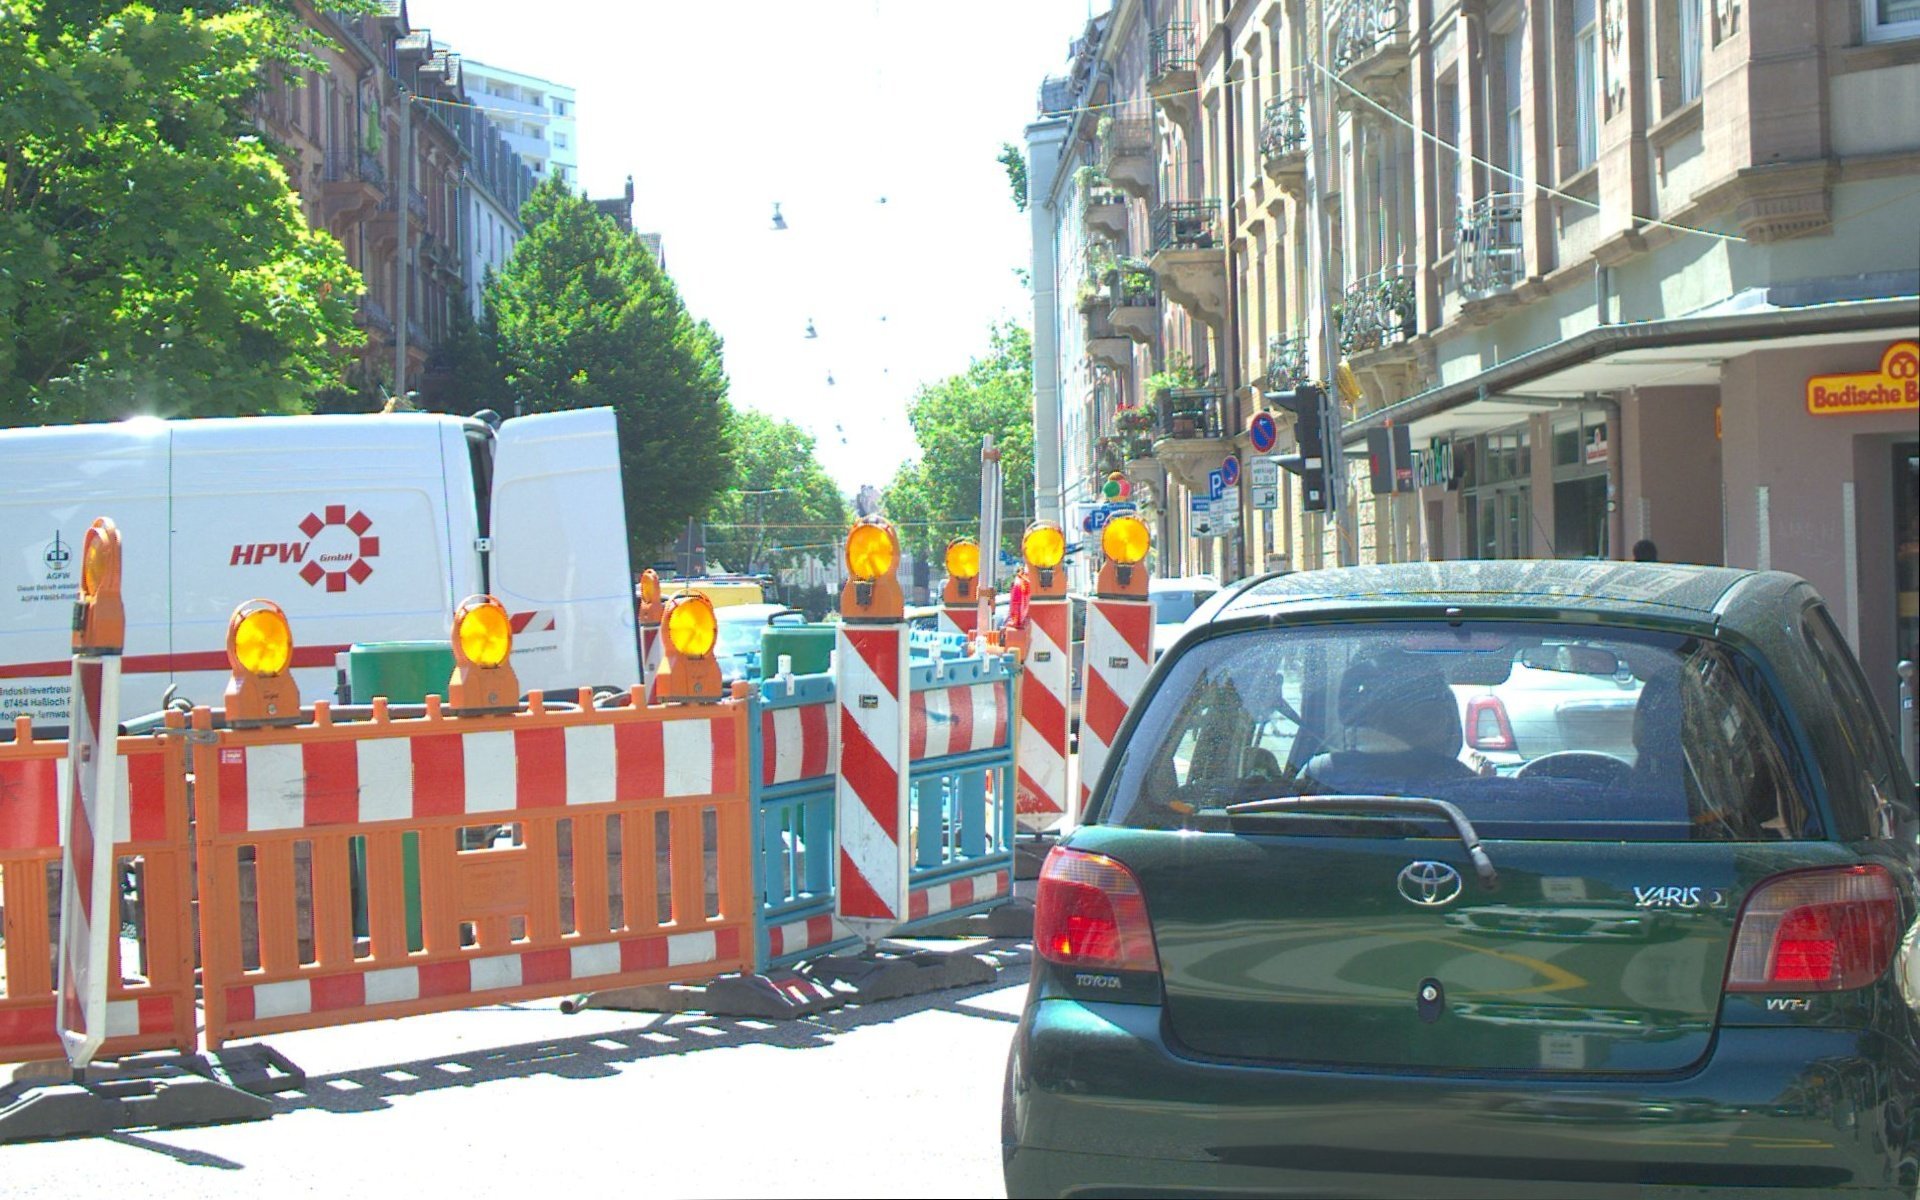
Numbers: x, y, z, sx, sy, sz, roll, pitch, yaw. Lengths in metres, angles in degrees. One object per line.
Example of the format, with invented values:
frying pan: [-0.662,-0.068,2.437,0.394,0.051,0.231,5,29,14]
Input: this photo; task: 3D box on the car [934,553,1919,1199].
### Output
car: [1.182,0.668,7.096,1.615,1.480,3.238,0,0,16]

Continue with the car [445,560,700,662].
car: [-7.985,0.215,70.862,4.773,1.987,2.053,-1,0,-30]

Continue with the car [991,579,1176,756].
car: [1.147,0.613,33.199,1.522,1.587,3.264,-1,0,-2]

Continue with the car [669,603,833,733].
car: [-2.475,0.782,41.551,1.754,1.439,4.000,-2,0,-1]

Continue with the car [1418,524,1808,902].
car: [2.995,0.447,15.543,1.523,1.516,3.262,-1,0,13]

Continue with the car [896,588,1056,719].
car: [0.176,0.709,47.519,1.993,1.612,4.000,-4,0,-1]

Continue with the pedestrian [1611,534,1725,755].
pedestrian: [5.290,0.325,25.717,0.641,1.618,0.804,-1,0,-1]

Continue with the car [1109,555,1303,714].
car: [2.869,0.389,40.979,1.871,1.707,4.504,-3,0,0]

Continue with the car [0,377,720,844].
car: [-4.917,0.052,21.643,6.621,2.742,2.380,0,0,0]

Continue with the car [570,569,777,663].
car: [-6.959,0.371,83.521,4.557,2.180,2.000,-1,0,-28]

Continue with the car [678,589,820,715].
car: [-3.037,0.721,50.219,1.754,1.639,4.378,-4,0,-1]
